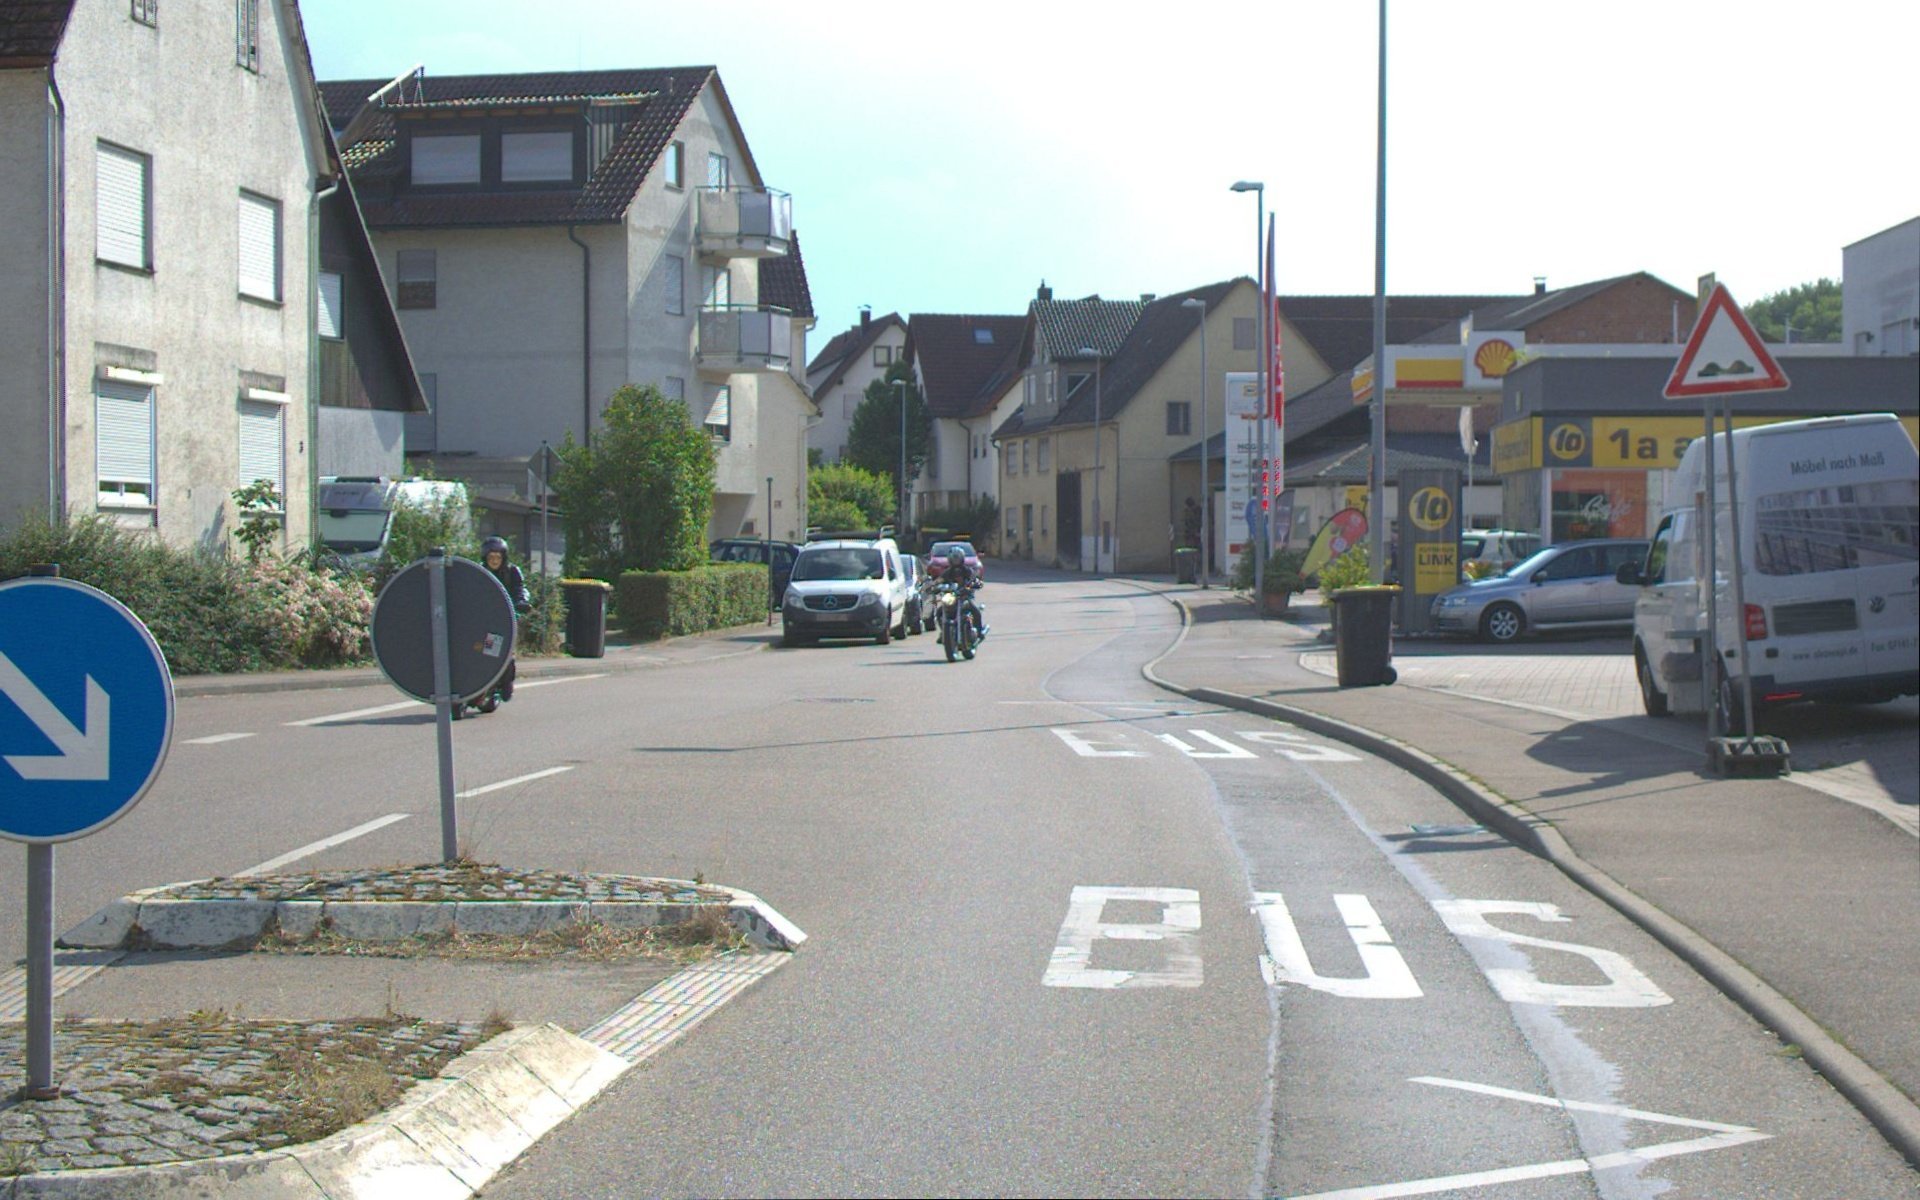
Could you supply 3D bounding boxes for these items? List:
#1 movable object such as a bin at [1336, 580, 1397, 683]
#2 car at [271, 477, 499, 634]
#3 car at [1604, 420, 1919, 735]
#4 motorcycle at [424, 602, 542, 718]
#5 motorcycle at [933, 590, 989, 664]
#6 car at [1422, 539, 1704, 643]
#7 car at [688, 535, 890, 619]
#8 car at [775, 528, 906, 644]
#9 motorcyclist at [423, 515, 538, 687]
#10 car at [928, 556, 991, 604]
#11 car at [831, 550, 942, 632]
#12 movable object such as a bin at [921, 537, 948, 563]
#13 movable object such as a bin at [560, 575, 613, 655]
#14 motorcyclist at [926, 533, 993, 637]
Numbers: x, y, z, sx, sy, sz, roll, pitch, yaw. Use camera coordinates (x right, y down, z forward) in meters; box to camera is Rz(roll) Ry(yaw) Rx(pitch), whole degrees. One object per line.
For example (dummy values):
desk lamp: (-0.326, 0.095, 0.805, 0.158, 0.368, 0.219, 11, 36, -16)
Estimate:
movable object such as a bin: (4.337, 0.332, 36.706, 0.567, 1.071, 0.573, -1, 1, 0)
car: (-10.042, -0.816, 60.583, 2.159, 2.587, 6.092, 1, 1, 8)
car: (6.750, -0.211, 28.556, 1.836, 2.367, 5.179, 0, 1, 0)
motorcycle: (-4.398, 0.540, 31.822, 0.538, 1.009, 2.027, 2, 0, 7)
motorcycle: (0.016, 0.372, 48.703, 0.524, 1.009, 2.027, 2, 0, 7)
car: (9.073, -0.153, 51.924, 3.987, 1.526, 1.527, 0, 1, 1)
car: (-3.751, -0.522, 75.653, 3.990, 1.533, 1.761, 5, 2, 15)
car: (-1.987, -0.272, 58.362, 1.716, 1.866, 4.191, -1, 1, 5)
motorcyclist: (-4.411, 0.012, 31.669, 0.736, 1.522, 1.016, 3, 0, 7)
car: (-0.027, -0.646, 108.472, 1.708, 1.430, 3.781, -2, 1, -3)
car: (-1.333, -0.196, 64.035, 1.673, 1.446, 3.834, -1, 1, 5)
movable object such as a bin: (-1.177, -2.287, 157.689, 1.160, 1.164, 0.655, 0, 1, -8)
movable object such as a bin: (-5.207, 0.207, 47.929, 0.611, 1.097, 0.576, 1, 0, 4)
motorcyclist: (-0.006, -0.215, 48.634, 0.803, 1.431, 1.036, 1, 1, 7)
